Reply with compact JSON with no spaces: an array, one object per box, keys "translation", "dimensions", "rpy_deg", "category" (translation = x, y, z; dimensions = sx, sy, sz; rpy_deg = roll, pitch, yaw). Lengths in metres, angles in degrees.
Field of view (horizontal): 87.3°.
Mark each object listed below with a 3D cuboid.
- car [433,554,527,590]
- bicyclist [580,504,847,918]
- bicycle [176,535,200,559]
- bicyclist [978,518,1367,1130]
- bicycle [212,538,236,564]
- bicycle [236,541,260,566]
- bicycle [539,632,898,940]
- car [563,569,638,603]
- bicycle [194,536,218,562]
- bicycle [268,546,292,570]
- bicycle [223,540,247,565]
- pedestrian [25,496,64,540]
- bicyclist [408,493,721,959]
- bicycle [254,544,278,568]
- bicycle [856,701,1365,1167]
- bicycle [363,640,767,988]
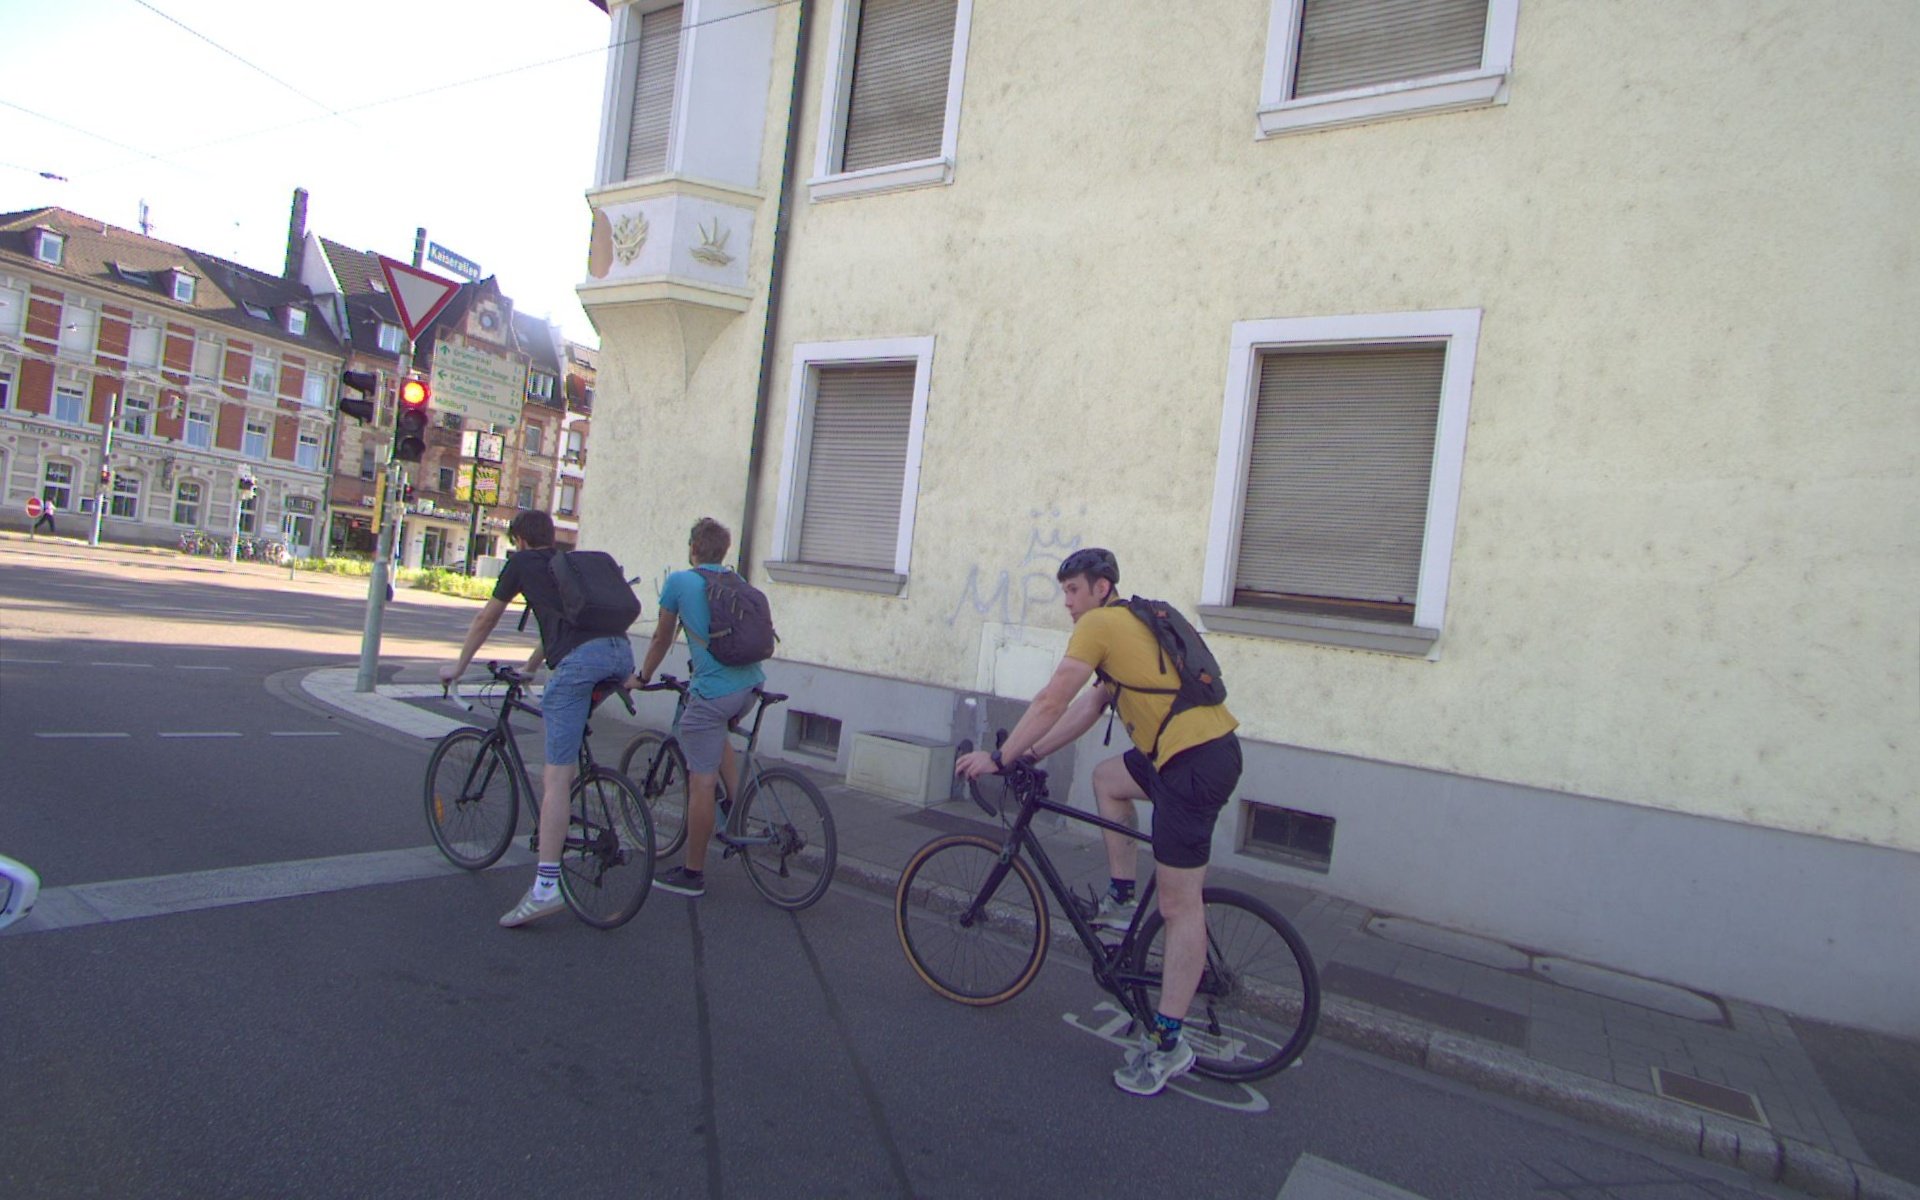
[{"translation":[-24.973,-1.442,52.441],"dimensions":[1.694,1.316,4.066],"rpy_deg":[7,-1,32],"category":"car"},{"translation":[-1.286,0.524,5.258],"dimensions":[0.978,1.910,0.652],"rpy_deg":[7,0,32],"category":"bicyclist"},{"translation":[-35.061,-2.412,45.657],"dimensions":[1.759,0.925,0.485],"rpy_deg":[7,0,42],"category":"bicycle"},{"translation":[0.771,0.696,3.644],"dimensions":[1.019,1.839,0.652],"rpy_deg":[7,0,32],"category":"bicyclist"},{"translation":[-34.184,-2.290,46.739],"dimensions":[1.759,1.033,0.485],"rpy_deg":[7,0,42],"category":"bicycle"},{"translation":[-33.670,-2.190,47.554],"dimensions":[1.759,1.033,0.485],"rpy_deg":[7,0,42],"category":"bicycle"},{"translation":[-1.310,0.877,5.268],"dimensions":[1.858,1.180,0.571],"rpy_deg":[7,0,32],"category":"bicycle"},{"translation":[-23.267,-0.894,65.278],"dimensions":[1.966,1.641,4.261],"rpy_deg":[7,-1,29],"category":"car"},{"translation":[-34.635,-2.339,46.193],"dimensions":[1.759,1.033,0.485],"rpy_deg":[7,0,42],"category":"bicycle"},{"translation":[-33.087,-2.056,48.970],"dimensions":[1.759,1.033,0.485],"rpy_deg":[7,0,42],"category":"bicycle"},{"translation":[-33.997,-2.249,47.163],"dimensions":[1.759,1.033,0.485],"rpy_deg":[7,0,42],"category":"bicycle"},{"translation":[-39.906,-3.573,43.875],"dimensions":[0.620,1.731,1.035],"rpy_deg":[6,-1,40],"category":"pedestrian"},{"translation":[-1.751,0.492,4.457],"dimensions":[0.978,1.788,0.652],"rpy_deg":[7,0,32],"category":"bicyclist"},{"translation":[-33.306,-2.113,48.282],"dimensions":[1.759,1.033,0.485],"rpy_deg":[7,0,42],"category":"bicycle"},{"translation":[0.512,1.090,3.760],"dimensions":[1.670,1.180,0.571],"rpy_deg":[7,0,32],"category":"bicycle"},{"translation":[-1.799,0.835,4.456],"dimensions":[1.858,1.071,0.571],"rpy_deg":[7,0,32],"category":"bicycle"}]
